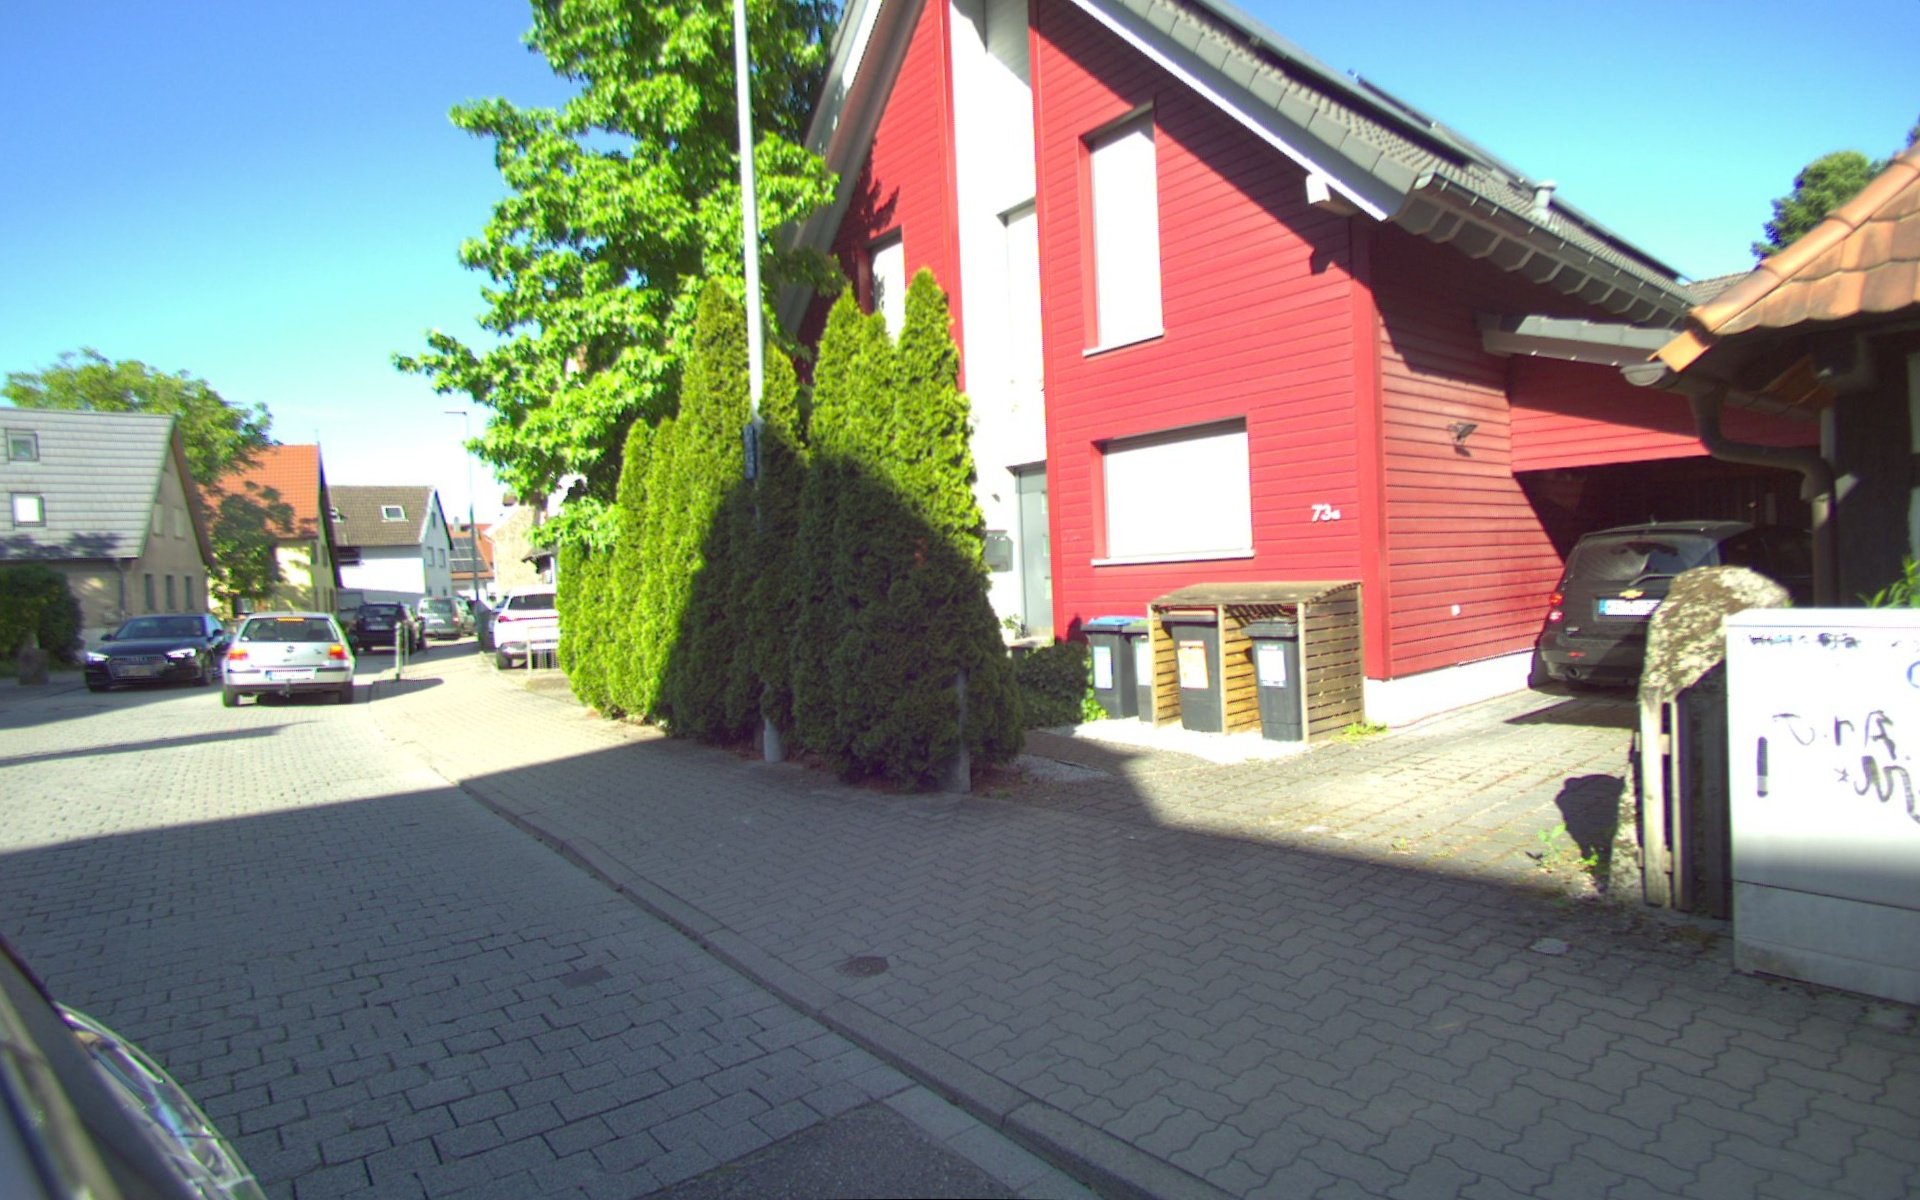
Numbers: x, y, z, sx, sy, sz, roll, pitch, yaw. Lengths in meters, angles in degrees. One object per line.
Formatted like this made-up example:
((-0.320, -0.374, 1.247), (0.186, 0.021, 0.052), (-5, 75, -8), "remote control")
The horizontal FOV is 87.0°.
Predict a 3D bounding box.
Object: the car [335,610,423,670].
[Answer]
((-18.387, 1.193, 32.202), (1.806, 1.683, 4.367), (-2, 0, -22), "car")

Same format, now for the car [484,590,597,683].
((-8.605, 0.666, 21.087), (1.792, 1.607, 4.459), (-4, 1, -19), "car")

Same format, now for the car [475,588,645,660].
((-11.107, 0.639, 28.164), (3.936, 1.600, 2.004), (-5, 1, -37), "car")

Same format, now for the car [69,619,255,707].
((-15.625, 1.156, 20.081), (1.777, 1.489, 4.358), (-1, -1, -23), "car")

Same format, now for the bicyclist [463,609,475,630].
((-31.318, 1.253, 64.592), (0.573, 1.330, 0.610), (-1, 0, -14), "bicyclist")

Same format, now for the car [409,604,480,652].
((-21.760, 1.169, 42.914), (1.807, 1.803, 4.365), (-4, 0, -16), "car")

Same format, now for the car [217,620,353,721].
((-11.056, 1.062, 16.609), (1.648, 1.413, 3.902), (1, -1, -34), "car")

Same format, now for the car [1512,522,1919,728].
((7.132, 0.128, 9.454), (3.934, 1.513, 1.821), (-4, 0, -34), "car")
